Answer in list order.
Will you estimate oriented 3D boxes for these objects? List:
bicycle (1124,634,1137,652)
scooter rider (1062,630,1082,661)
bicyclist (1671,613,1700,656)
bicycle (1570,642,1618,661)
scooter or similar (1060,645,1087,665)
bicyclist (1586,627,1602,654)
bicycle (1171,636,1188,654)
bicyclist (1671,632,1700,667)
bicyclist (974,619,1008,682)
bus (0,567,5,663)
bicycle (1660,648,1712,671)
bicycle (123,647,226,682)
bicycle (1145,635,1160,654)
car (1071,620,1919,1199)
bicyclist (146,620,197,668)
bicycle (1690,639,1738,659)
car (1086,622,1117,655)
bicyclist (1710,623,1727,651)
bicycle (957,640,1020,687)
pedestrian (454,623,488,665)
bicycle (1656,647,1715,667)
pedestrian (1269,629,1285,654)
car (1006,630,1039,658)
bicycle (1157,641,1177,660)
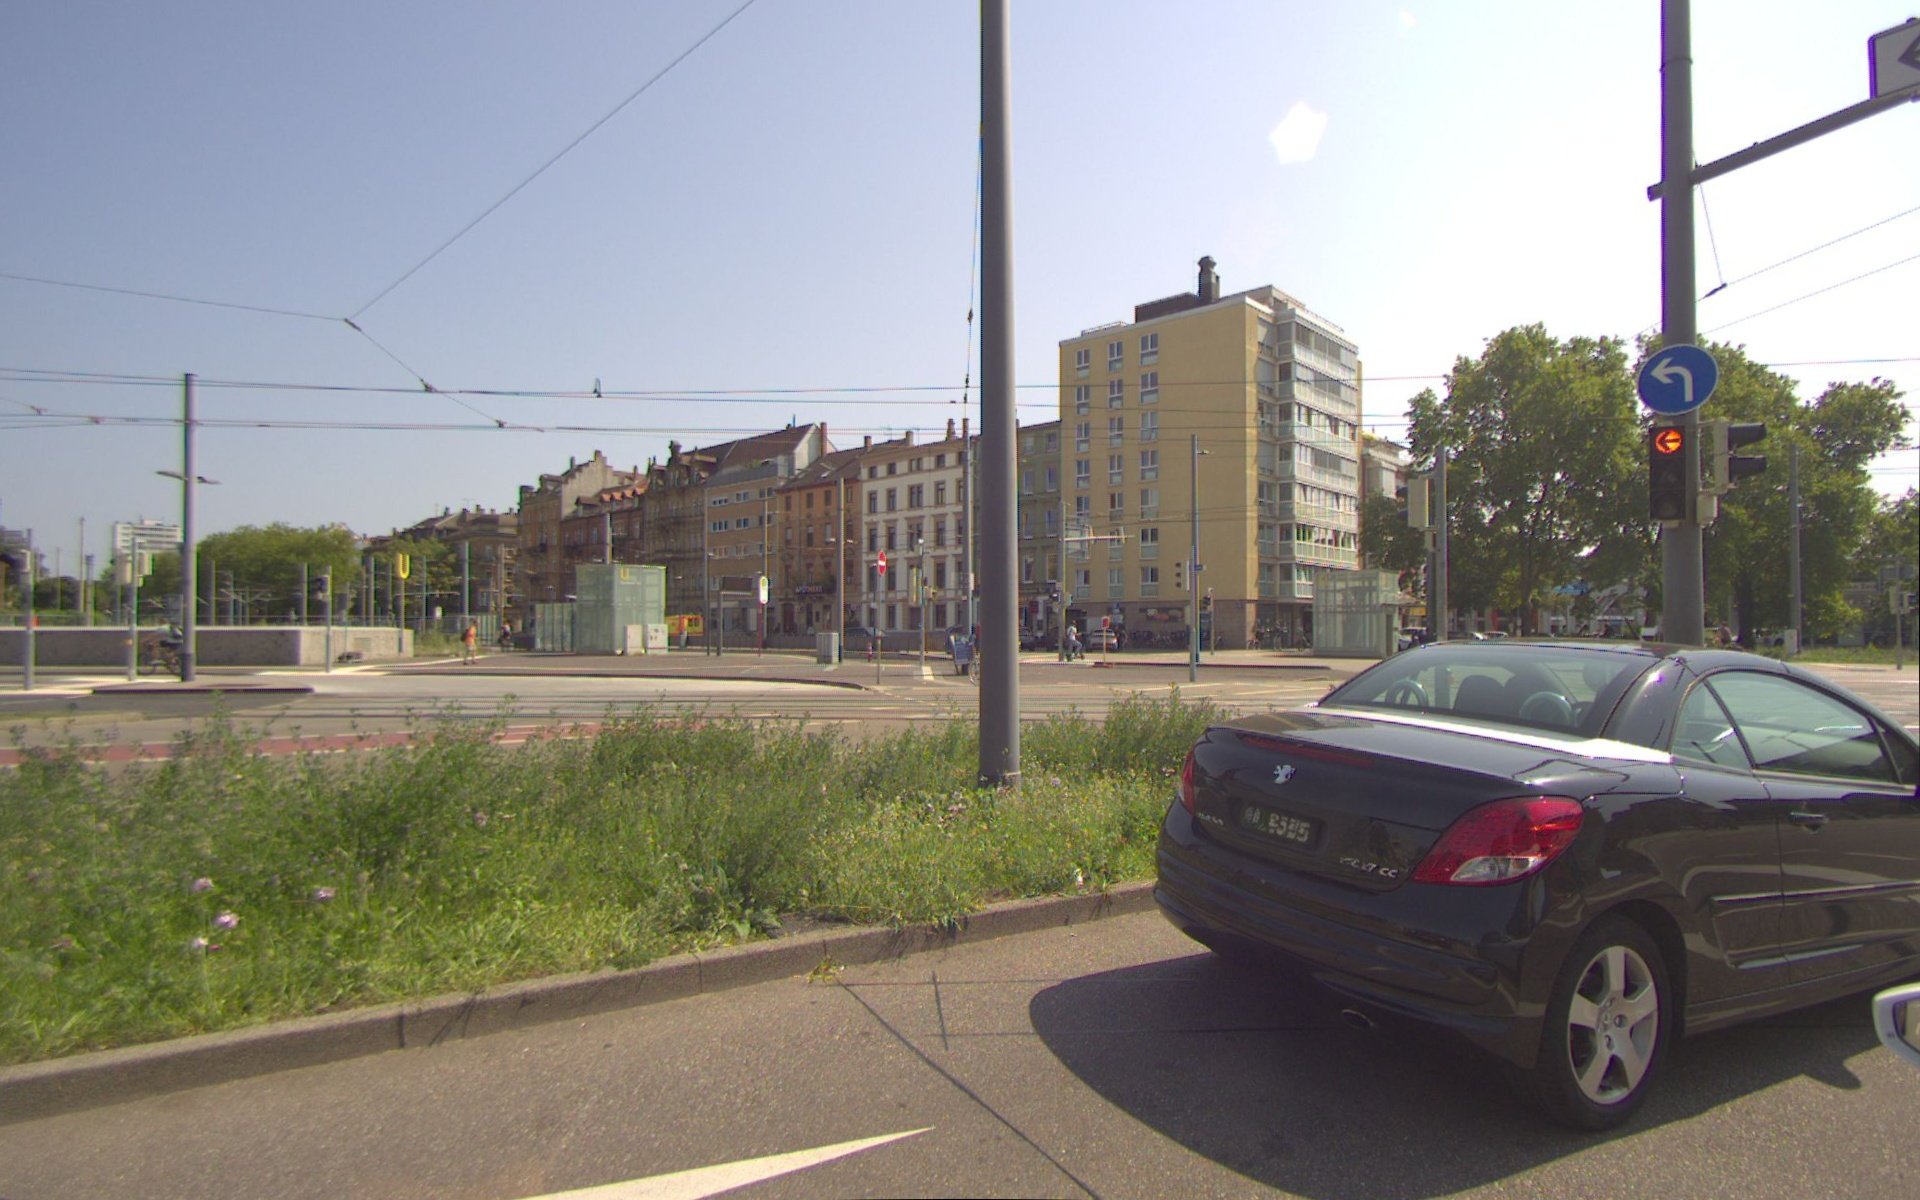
[{"bbox_3d":[11.892,3.017,70.083,0.680,1.220,2.792,0,-2,4],"label":"bicycle"},{"bbox_3d":[5.008,2.022,44.992,0.602,1.371,0.682,1,-1,-34],"label":"scooter rider"},{"bbox_3d":[31.224,1.483,43.234,0.494,1.831,0.915,2,-2,-42],"label":"bicyclist"},{"bbox_3d":[31.914,2.587,50.592,0.464,0.954,2.014,2,-2,-42],"label":"bicycle"},{"bbox_3d":[5.083,2.449,44.924,1.133,0.835,0.517,1,-2,-36],"label":"scooter or similar"},{"bbox_3d":[31.900,2.036,50.533,0.555,1.310,0.539,2,-2,-41],"label":"bicyclist"},{"bbox_3d":[14.787,3.012,67.711,0.680,1.220,3.265,0,-2,4],"label":"bicycle"},{"bbox_3d":[32.530,2.215,45.058,0.553,1.528,0.905,1,-2,-31],"label":"bicyclist"},{"bbox_3d":[0.772,1.247,24.919,0.632,1.529,0.553,1,-1,-36],"label":"bicyclist"},{"bbox_3d":[-33.433,0.365,26.877,12.103,2.748,3.405,0,-1,-2],"label":"bus"},{"bbox_3d":[32.526,2.667,45.034,0.561,0.954,1.804,1,-2,-31],"label":"bicycle"},{"bbox_3d":[-24.108,1.968,30.862,2.317,1.056,0.961,0,-2,-6],"label":"bicycle"},{"bbox_3d":[13.193,3.026,68.944,0.680,1.220,3.265,0,-2,4],"label":"bicycle"},{"bbox_3d":[2.505,0.823,4.078,3.732,1.406,1.759,1,0,-27],"label":"car"},{"bbox_3d":[-24.234,1.348,30.882,0.989,1.446,0.655,2,0,-5],"label":"bicyclist"},{"bbox_3d":[35.792,2.320,47.695,0.413,0.954,1.797,2,-2,-42],"label":"bicycle"},{"bbox_3d":[8.832,2.363,62.367,1.767,1.951,4.003,0,-2,10],"label":"car"},{"bbox_3d":[35.875,1.749,47.483,0.555,1.310,0.539,2,-2,-41],"label":"bicyclist"},{"bbox_3d":[0.694,1.550,24.913,0.499,1.108,1.918,1,-2,-36],"label":"bicycle"},{"bbox_3d":[-18.284,1.639,37.538,0.729,1.563,0.858,0,-2,26],"label":"pedestrian"},{"bbox_3d":[31.207,2.459,43.232,0.476,0.813,2.030,2,-2,-42],"label":"bicycle"},{"bbox_3d":[20.130,2.610,63.780,0.843,1.563,0.742,-1,-2,29],"label":"pedestrian"},{"bbox_3d":[4.193,2.908,67.057,1.767,1.843,4.003,0,-2,10],"label":"car"},{"bbox_3d":[13.994,3.412,68.008,0.892,1.220,3.265,0,-2,4],"label":"bicycle"}]
